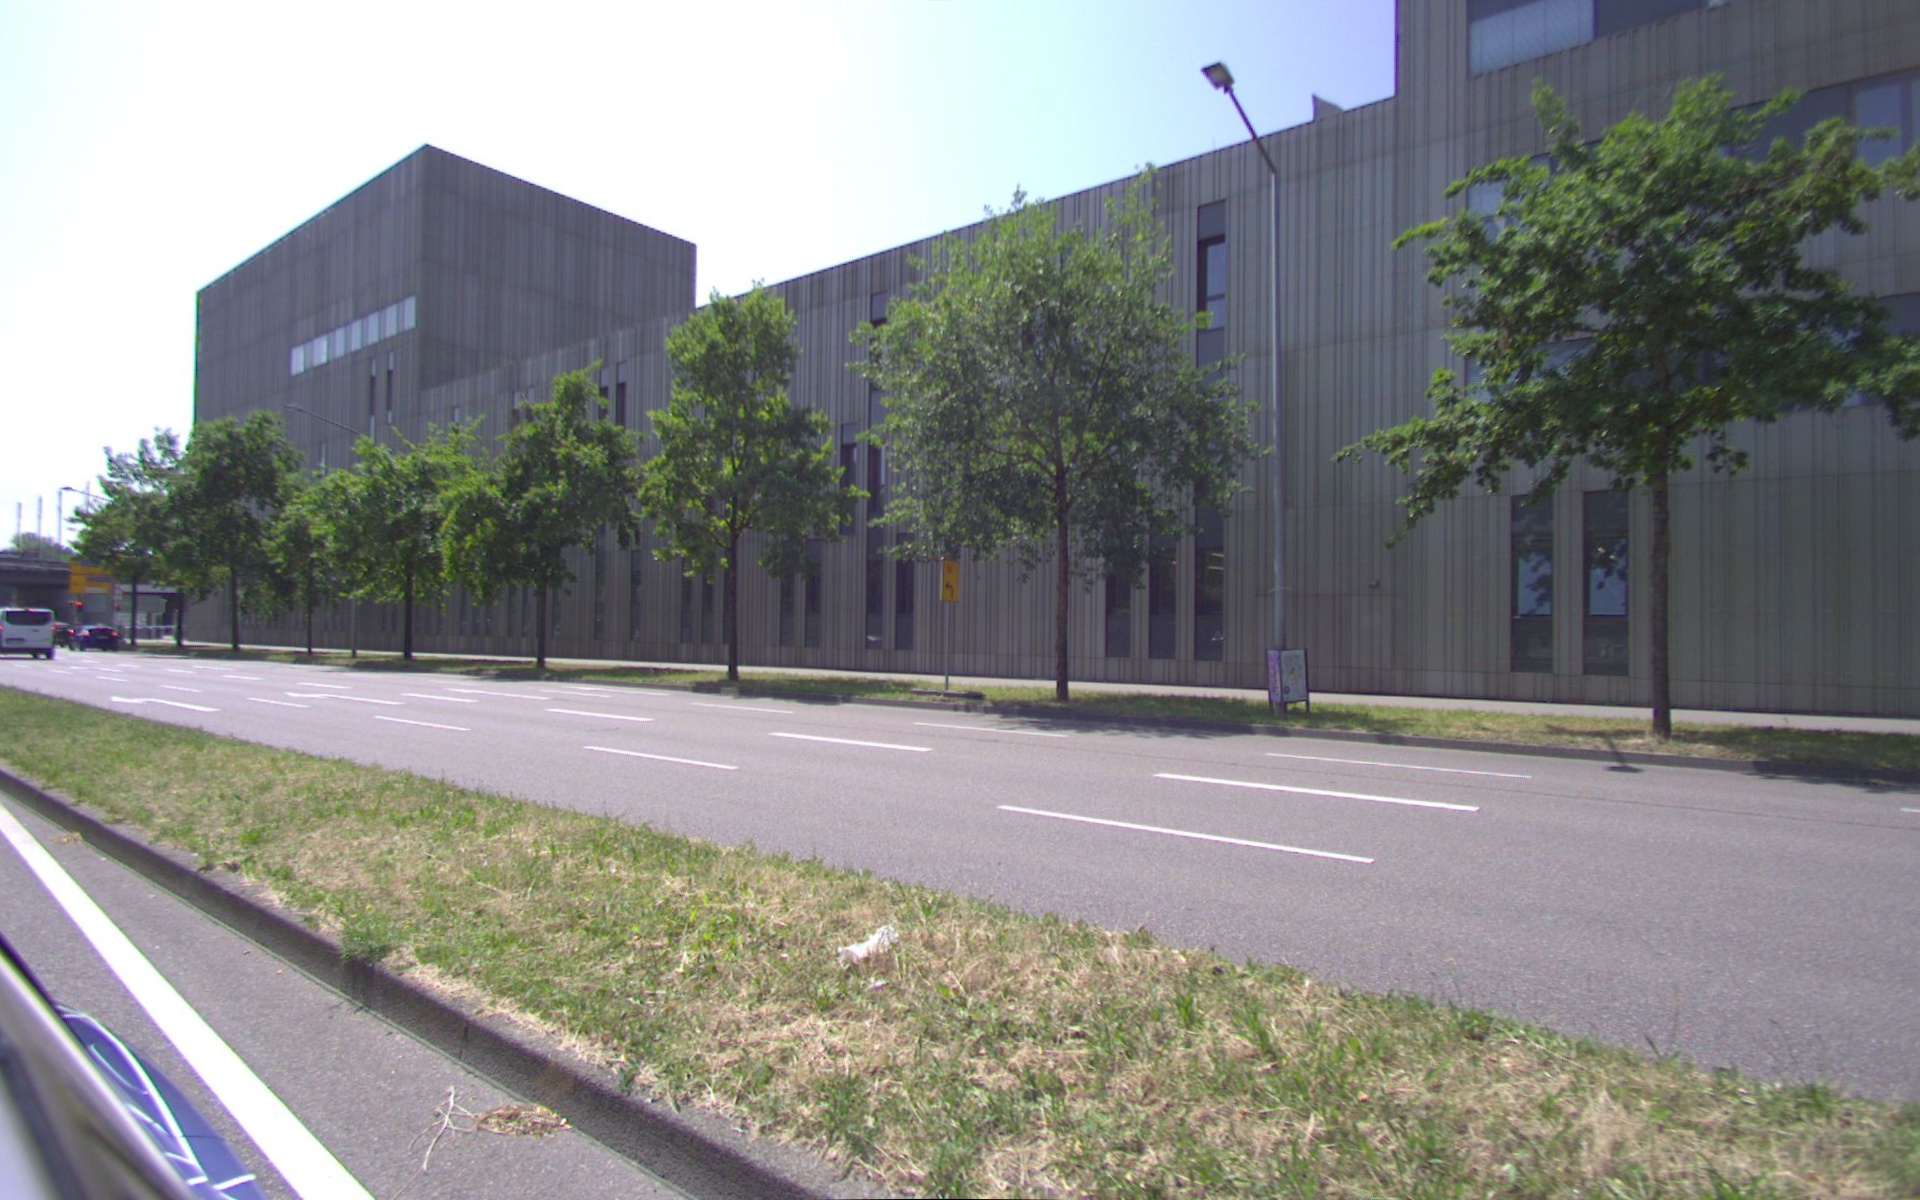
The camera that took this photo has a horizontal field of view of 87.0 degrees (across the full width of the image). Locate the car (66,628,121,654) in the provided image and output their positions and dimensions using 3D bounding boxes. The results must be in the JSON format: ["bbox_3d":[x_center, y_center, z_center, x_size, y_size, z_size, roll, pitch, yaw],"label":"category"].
[{"bbox_3d":[-49.025,2.302,57.236,4.012,1.467,1.605,-1,-2,39],"label":"car"}]

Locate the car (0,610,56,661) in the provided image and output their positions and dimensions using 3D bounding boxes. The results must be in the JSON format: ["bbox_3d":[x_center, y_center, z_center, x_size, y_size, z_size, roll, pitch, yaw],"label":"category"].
[{"bbox_3d":[-38.749,1.440,41.288,4.891,2.008,1.891,-1,-3,38],"label":"car"}]

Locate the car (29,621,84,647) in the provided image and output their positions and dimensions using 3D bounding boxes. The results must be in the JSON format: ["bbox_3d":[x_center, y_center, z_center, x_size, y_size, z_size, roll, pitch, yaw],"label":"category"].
[{"bbox_3d":[-56.534,2.097,63.325,4.363,1.555,1.793,-1,-2,38],"label":"car"}]
